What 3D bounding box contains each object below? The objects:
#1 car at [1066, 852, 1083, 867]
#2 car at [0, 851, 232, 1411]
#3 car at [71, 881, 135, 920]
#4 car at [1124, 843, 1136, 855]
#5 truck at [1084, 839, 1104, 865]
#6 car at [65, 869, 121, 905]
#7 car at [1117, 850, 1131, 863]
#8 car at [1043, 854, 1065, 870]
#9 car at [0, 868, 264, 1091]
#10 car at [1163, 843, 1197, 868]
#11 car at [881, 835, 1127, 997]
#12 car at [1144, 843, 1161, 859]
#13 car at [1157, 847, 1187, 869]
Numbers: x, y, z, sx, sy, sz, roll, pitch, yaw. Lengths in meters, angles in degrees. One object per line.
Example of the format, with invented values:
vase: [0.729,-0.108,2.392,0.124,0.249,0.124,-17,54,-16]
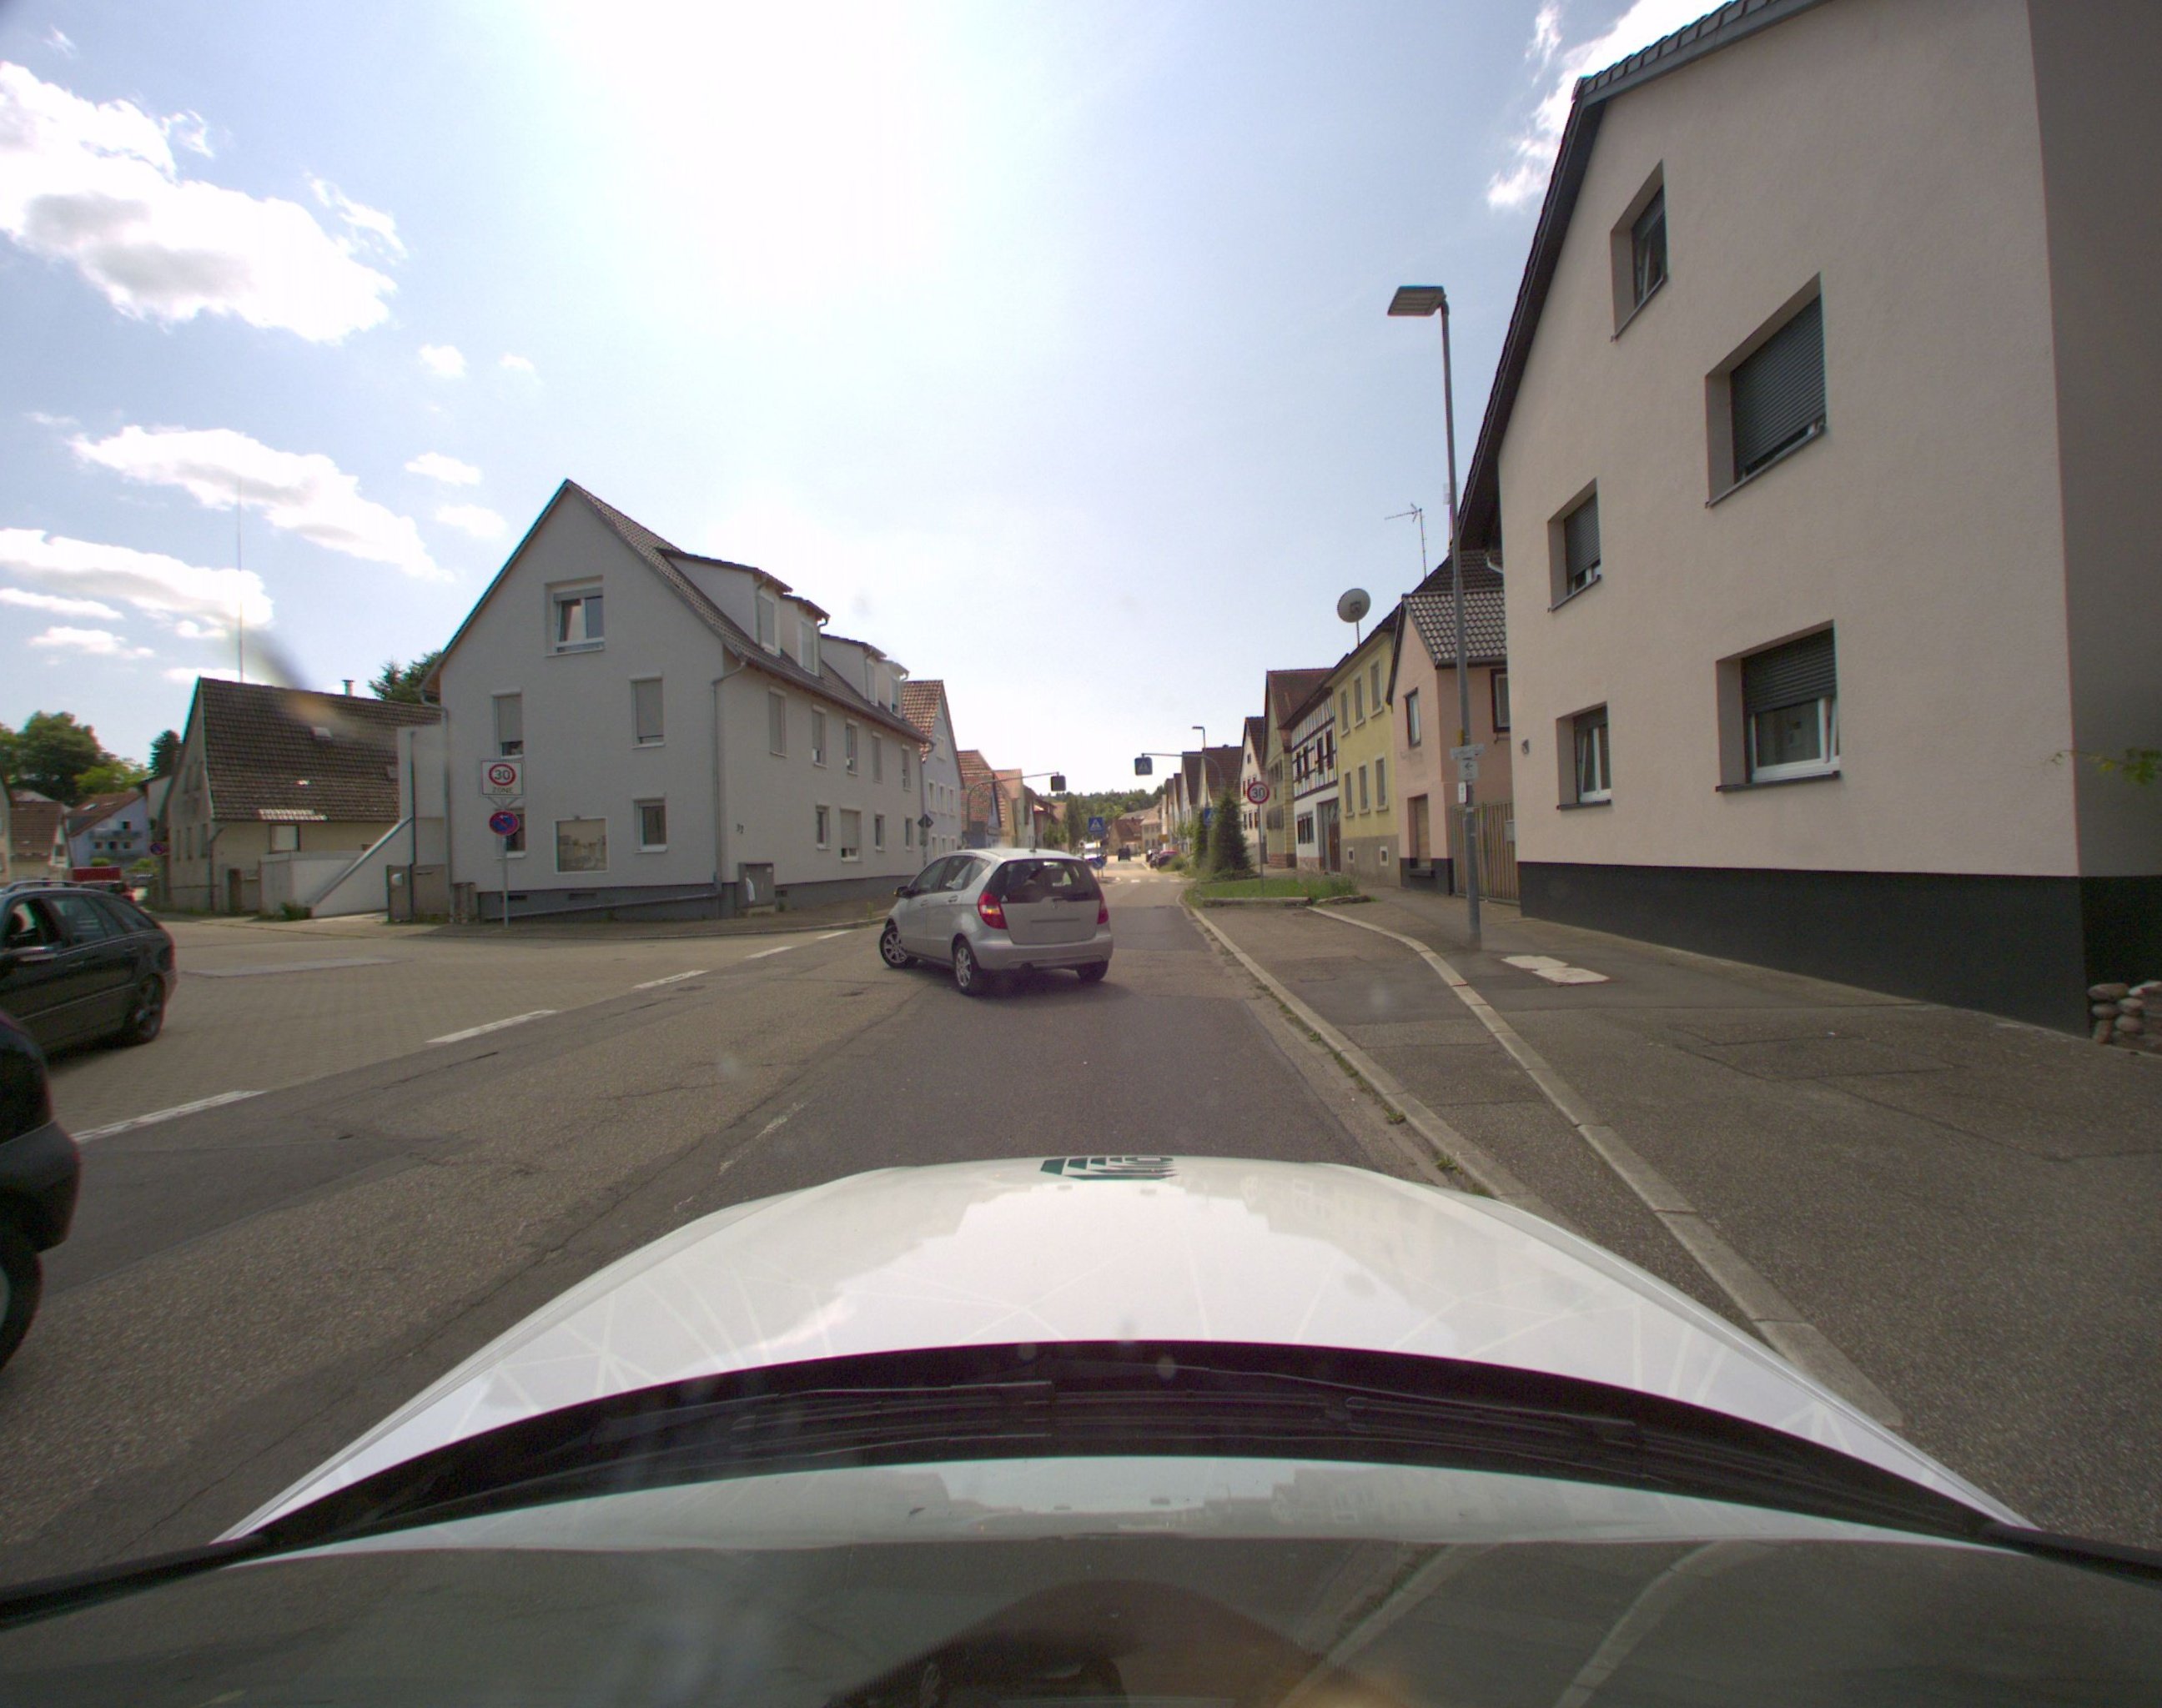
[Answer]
car: [-0.706,0.617,93.539,1.660,1.596,4.002,-1,-2,3]
car: [-3.753,0.745,0.929,1.495,1.540,3.855,-2,-2,0]
car: [-41.915,1.986,34.903,3.431,1.530,1.500,-3,-2,36]
car: [9.112,-0.978,151.425,1.986,2.014,4.002,-1,-2,2]
truck: [1.452,-0.199,89.144,1.986,2.537,6.741,-1,-2,2]
car: [-46.370,1.566,38.215,3.431,1.635,1.406,-3,-2,36]
car: [6.464,0.407,121.728,1.986,1.816,4.001,-1,-2,1]
car: [-2.447,0.764,73.290,1.989,1.321,3.704,-1,-2,-3]
car: [-8.742,0.884,6.624,1.820,1.412,4.591,0,-2,-30]
car: [6.714,0.115,55.381,1.985,1.508,4.002,-1,-2,2]
car: [-1.157,0.650,10.380,1.821,1.643,3.694,0,-1,-29]
car: [9.230,-0.393,105.724,1.986,1.816,4.001,-1,-2,1]
car: [6.919,0.325,62.282,1.985,1.508,4.002,-1,-2,2]
